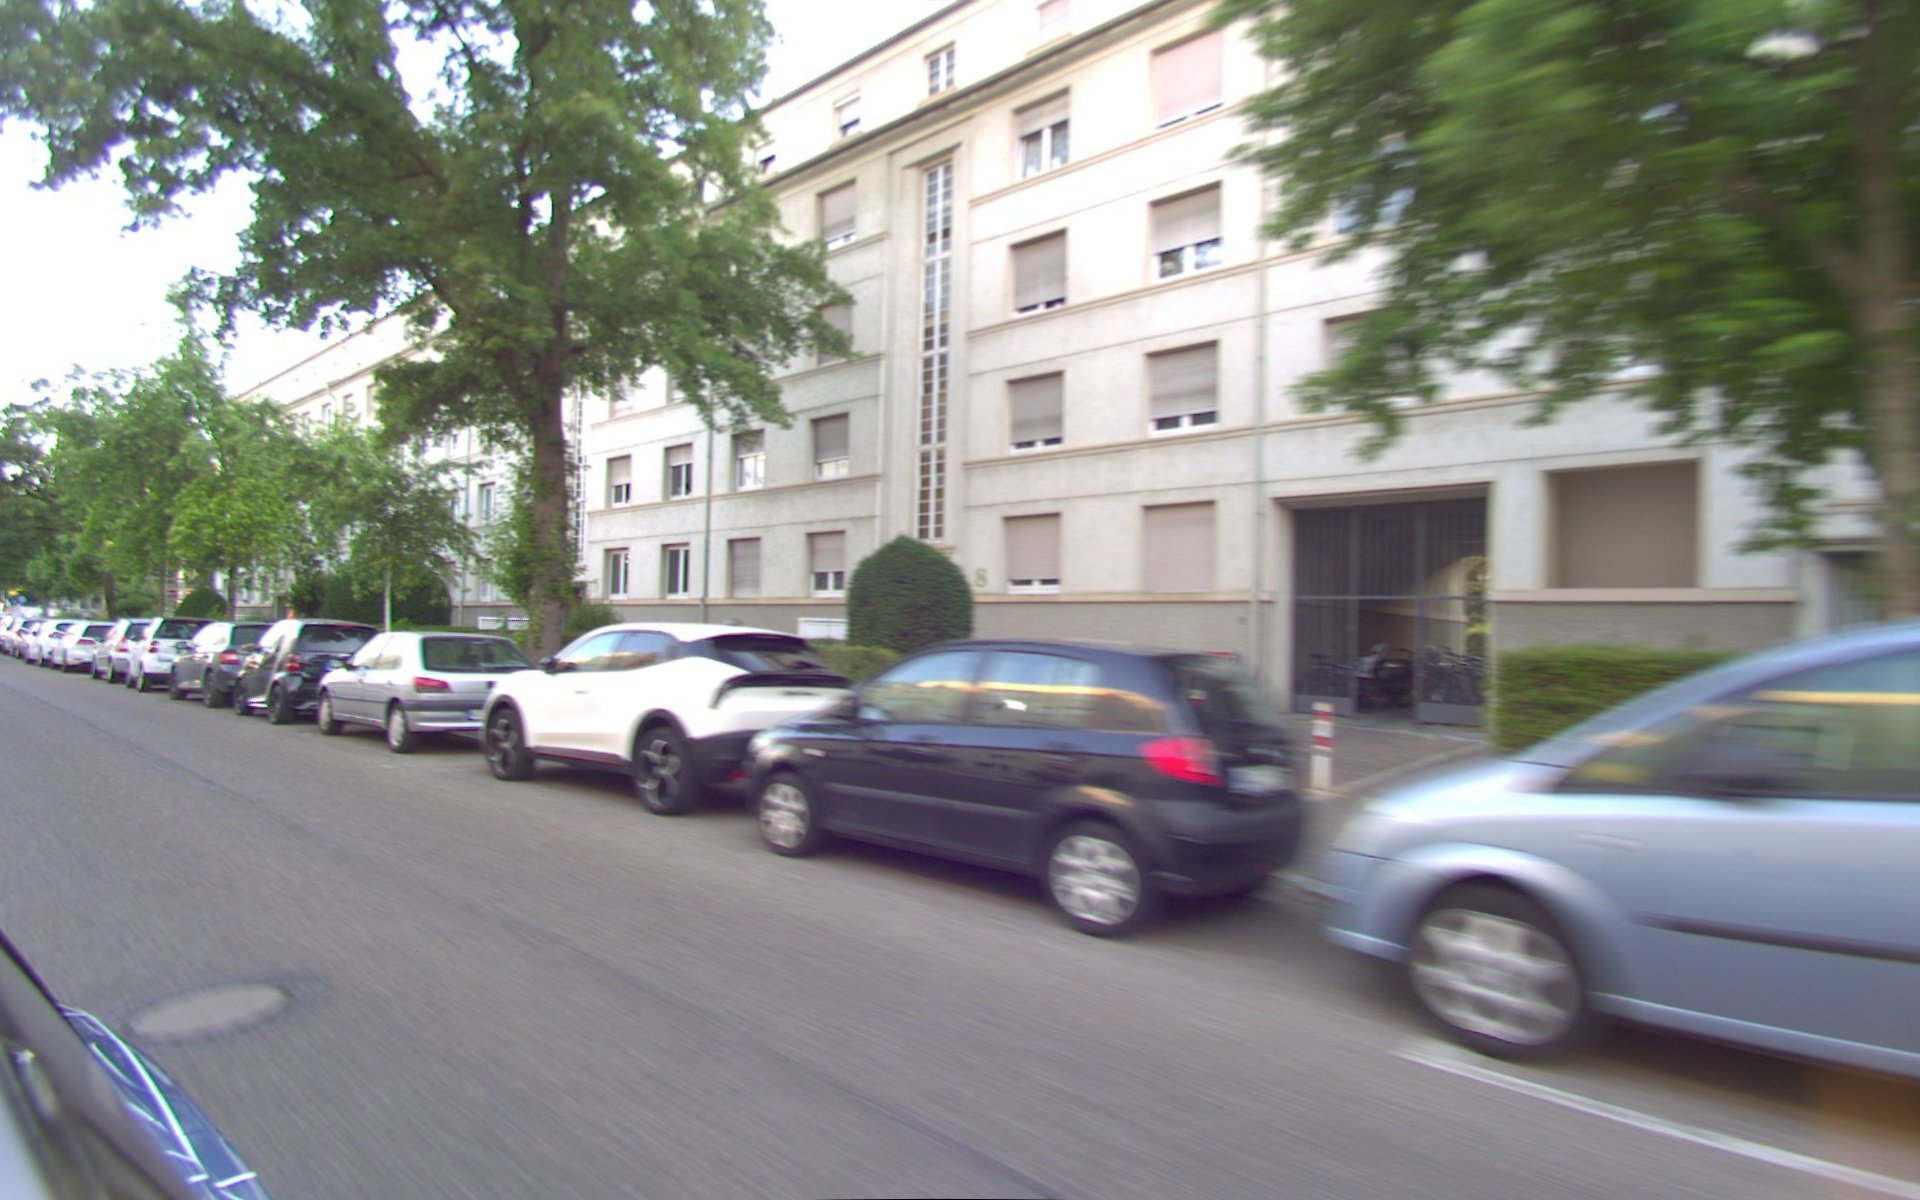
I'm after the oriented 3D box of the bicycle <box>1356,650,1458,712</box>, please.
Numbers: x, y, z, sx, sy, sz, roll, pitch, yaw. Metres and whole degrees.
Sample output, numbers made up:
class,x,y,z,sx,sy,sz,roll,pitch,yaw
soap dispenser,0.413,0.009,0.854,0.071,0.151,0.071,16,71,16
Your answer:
class,x,y,z,sx,sy,sz,roll,pitch,yaw
bicycle,8.935,1.607,20.266,1.789,1.181,0.629,1,-2,-5

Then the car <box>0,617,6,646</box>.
class,x,y,z,sx,sy,sz,roll,pitch,yaw
car,-50.536,1.537,52.086,4.224,1.483,1.733,-1,-6,43

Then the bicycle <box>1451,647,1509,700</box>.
class,x,y,z,sx,sy,sz,roll,pitch,yaw
bicycle,12.240,1.708,23.791,1.905,1.181,0.628,3,-3,-44

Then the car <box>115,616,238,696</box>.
class,x,y,z,sx,sy,sz,roll,pitch,yaw
car,-16.837,1.180,21.715,2.922,1.540,1.572,-1,-6,44

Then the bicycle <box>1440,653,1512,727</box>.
class,x,y,z,sx,sy,sz,roll,pitch,yaw
bicycle,8.778,1.491,17.179,0.628,1.181,1.907,-1,-3,41

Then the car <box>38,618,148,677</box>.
class,x,y,z,sx,sy,sz,roll,pitch,yaw
car,-24.644,1.323,28.719,4.482,1.470,1.674,0,-6,42

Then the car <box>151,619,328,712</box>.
class,x,y,z,sx,sy,sz,roll,pitch,yaw
car,-13.234,1.157,18.500,4.099,1.477,1.574,0,-6,40

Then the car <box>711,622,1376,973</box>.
class,x,y,z,sx,sy,sz,roll,pitch,yaw
car,0.316,0.951,6.283,3.842,1.463,1.689,-1,-6,43

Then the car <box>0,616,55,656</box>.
class,x,y,z,sx,sy,sz,roll,pitch,yaw
car,-39.101,1.446,41.882,4.675,1.491,1.734,0,-6,41

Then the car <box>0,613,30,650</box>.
class,x,y,z,sx,sy,sz,roll,pitch,yaw
car,-46.356,1.464,48.700,4.105,1.644,1.734,0,-6,41

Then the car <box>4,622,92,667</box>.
class,x,y,z,sx,sy,sz,roll,pitch,yaw
car,-31.838,1.533,35.303,4.578,1.342,1.657,0,-6,41

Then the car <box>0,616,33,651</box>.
class,x,y,z,sx,sy,sz,roll,pitch,yaw
car,-43.097,1.464,45.485,3.945,1.491,1.733,-1,-6,44

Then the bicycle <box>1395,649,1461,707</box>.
class,x,y,z,sx,sy,sz,roll,pitch,yaw
bicycle,10.008,1.650,21.609,1.905,1.181,0.628,3,-3,-44

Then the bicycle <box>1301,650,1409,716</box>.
class,x,y,z,sx,sy,sz,roll,pitch,yaw
bicycle,7.319,1.531,18.775,1.787,1.181,0.629,1,-2,-10

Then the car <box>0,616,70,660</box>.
class,x,y,z,sx,sy,sz,roll,pitch,yaw
car,-35.359,1.428,38.461,3.702,1.470,1.657,0,-6,40

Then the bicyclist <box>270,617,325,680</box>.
class,x,y,z,sx,sy,sz,roll,pitch,yaw
bicyclist,-15.280,1.104,23.334,0.973,1.415,0.799,-1,-2,42

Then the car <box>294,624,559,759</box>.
class,x,y,z,sx,sy,sz,roll,pitch,yaw
car,-6.918,1.097,12.931,4.180,1.414,1.573,-1,-6,42

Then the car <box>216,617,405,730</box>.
class,x,y,z,sx,sy,sz,roll,pitch,yaw
car,-10.062,1.100,15.618,3.162,1.540,1.507,0,-6,41

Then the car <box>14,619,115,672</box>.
class,x,y,z,sx,sy,sz,roll,pitch,yaw
car,-28.191,1.408,31.823,4.142,1.470,1.675,0,-6,40

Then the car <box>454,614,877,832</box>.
class,x,y,z,sx,sy,sz,roll,pitch,yaw
car,-2.855,0.983,9.321,4.203,1.550,1.574,0,-6,40

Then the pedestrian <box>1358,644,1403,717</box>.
class,x,y,z,sx,sy,sz,roll,pitch,yaw
pedestrian,7.765,1.477,18.702,0.545,1.330,0.596,1,-2,-5

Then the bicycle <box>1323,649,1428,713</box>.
class,x,y,z,sx,sy,sz,roll,pitch,yaw
bicycle,8.019,1.557,19.571,1.789,1.181,0.629,1,-2,-5

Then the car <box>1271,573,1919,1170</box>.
class,x,y,z,sx,sy,sz,roll,pitch,yaw
car,3.338,0.809,3.263,4.116,1.613,1.689,-1,-6,42

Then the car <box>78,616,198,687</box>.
class,x,y,z,sx,sy,sz,roll,pitch,yaw
car,-20.019,1.226,24.602,3.798,1.516,1.573,0,-6,42

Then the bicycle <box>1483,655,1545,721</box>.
class,x,y,z,sx,sy,sz,roll,pitch,yaw
bicycle,10.542,1.644,19.231,0.628,1.181,1.907,-1,-3,41
